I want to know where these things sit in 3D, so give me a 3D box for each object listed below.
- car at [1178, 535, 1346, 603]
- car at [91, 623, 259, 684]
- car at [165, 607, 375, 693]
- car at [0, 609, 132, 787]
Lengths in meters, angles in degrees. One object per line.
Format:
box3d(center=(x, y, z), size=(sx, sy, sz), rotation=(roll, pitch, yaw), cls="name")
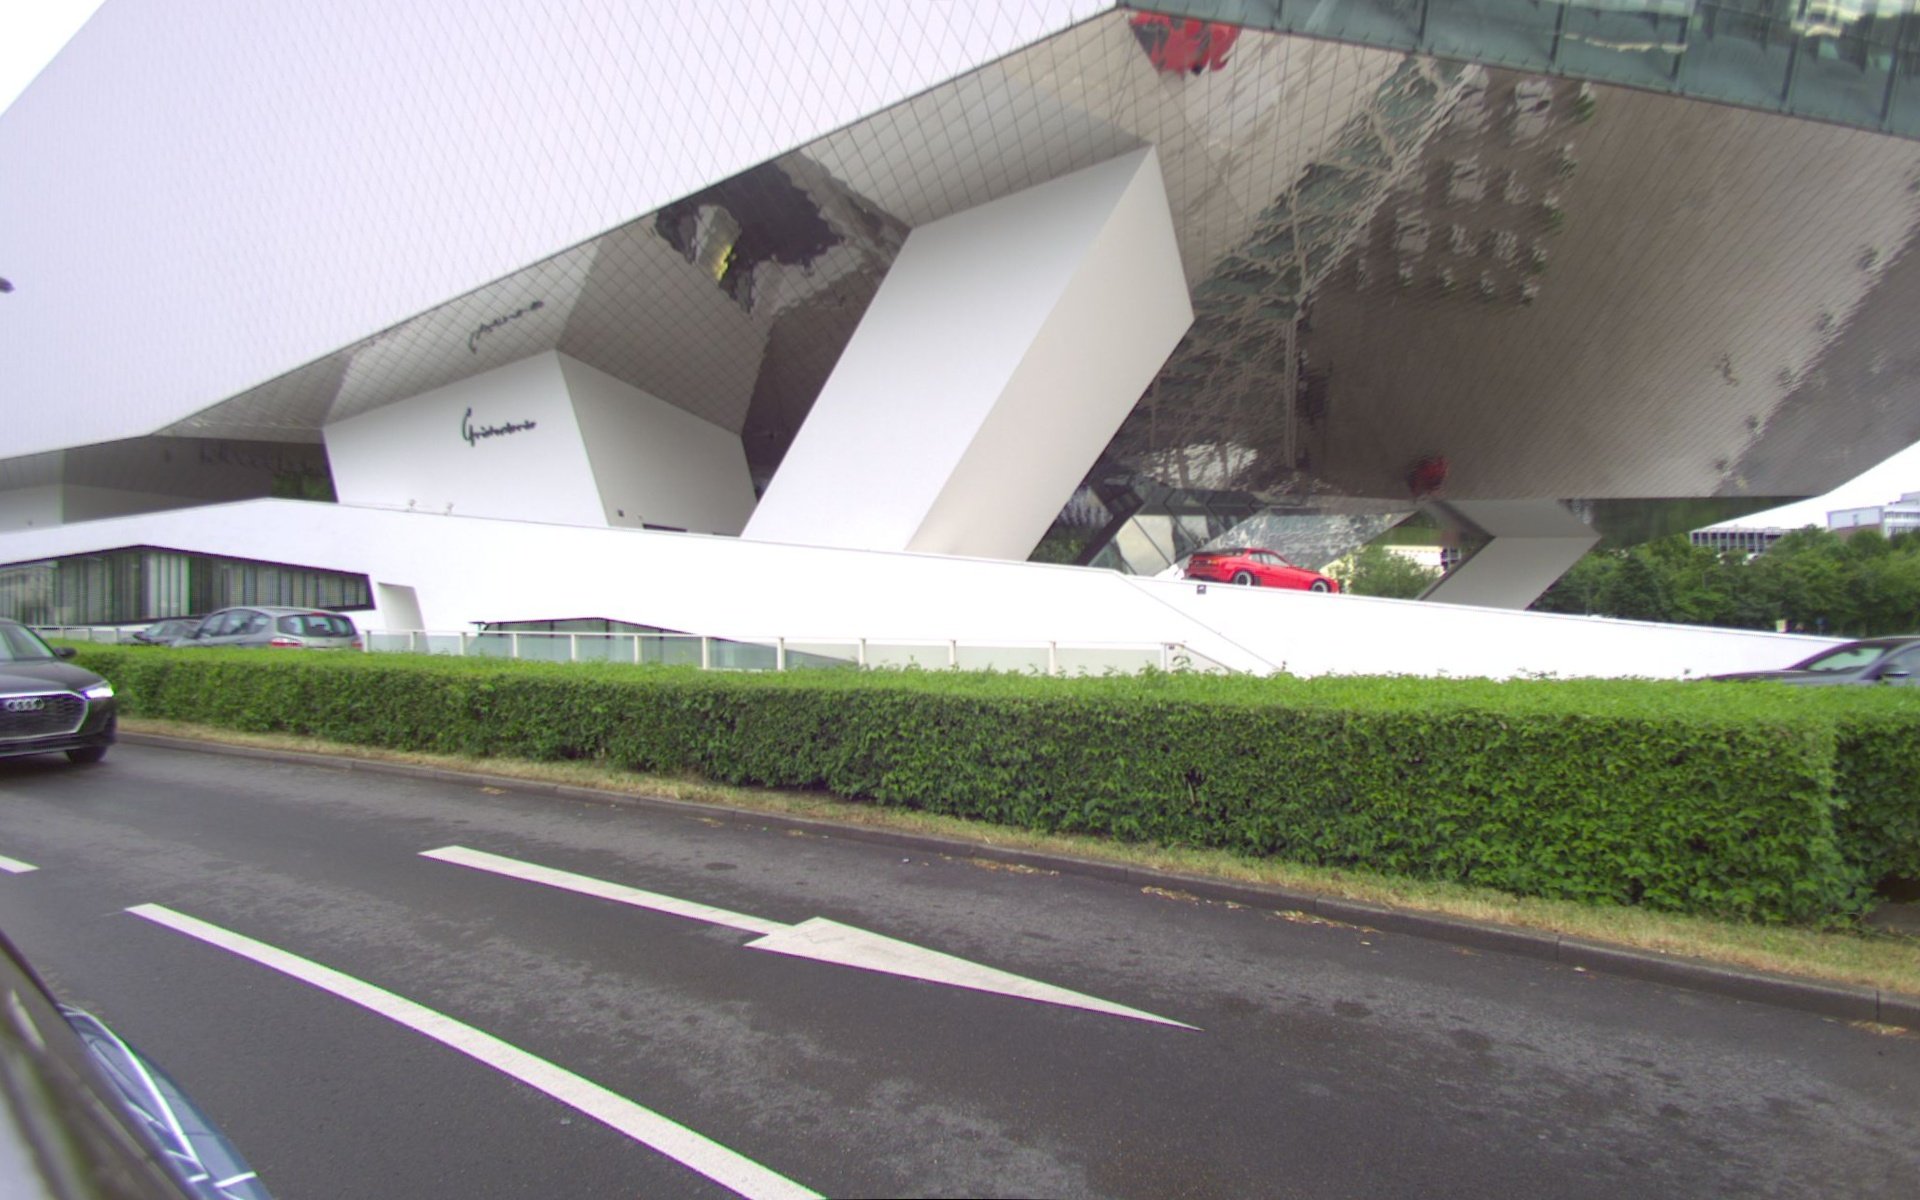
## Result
box3d(center=(8.194, -0.795, 27.552), size=(4.032, 1.252, 1.643), rotation=(7, -4, -15), cls="car")
box3d(center=(-20.773, 1.387, 26.754), size=(4.492, 1.483, 1.822), rotation=(-1, -2, 28), cls="car")
box3d(center=(-13.366, 0.924, 19.566), size=(3.984, 1.505, 1.820), rotation=(-1, -2, 30), cls="car")
box3d(center=(-10.482, 0.923, 10.294), size=(4.272, 1.595, 1.823), rotation=(-1, 0, 30), cls="car")
